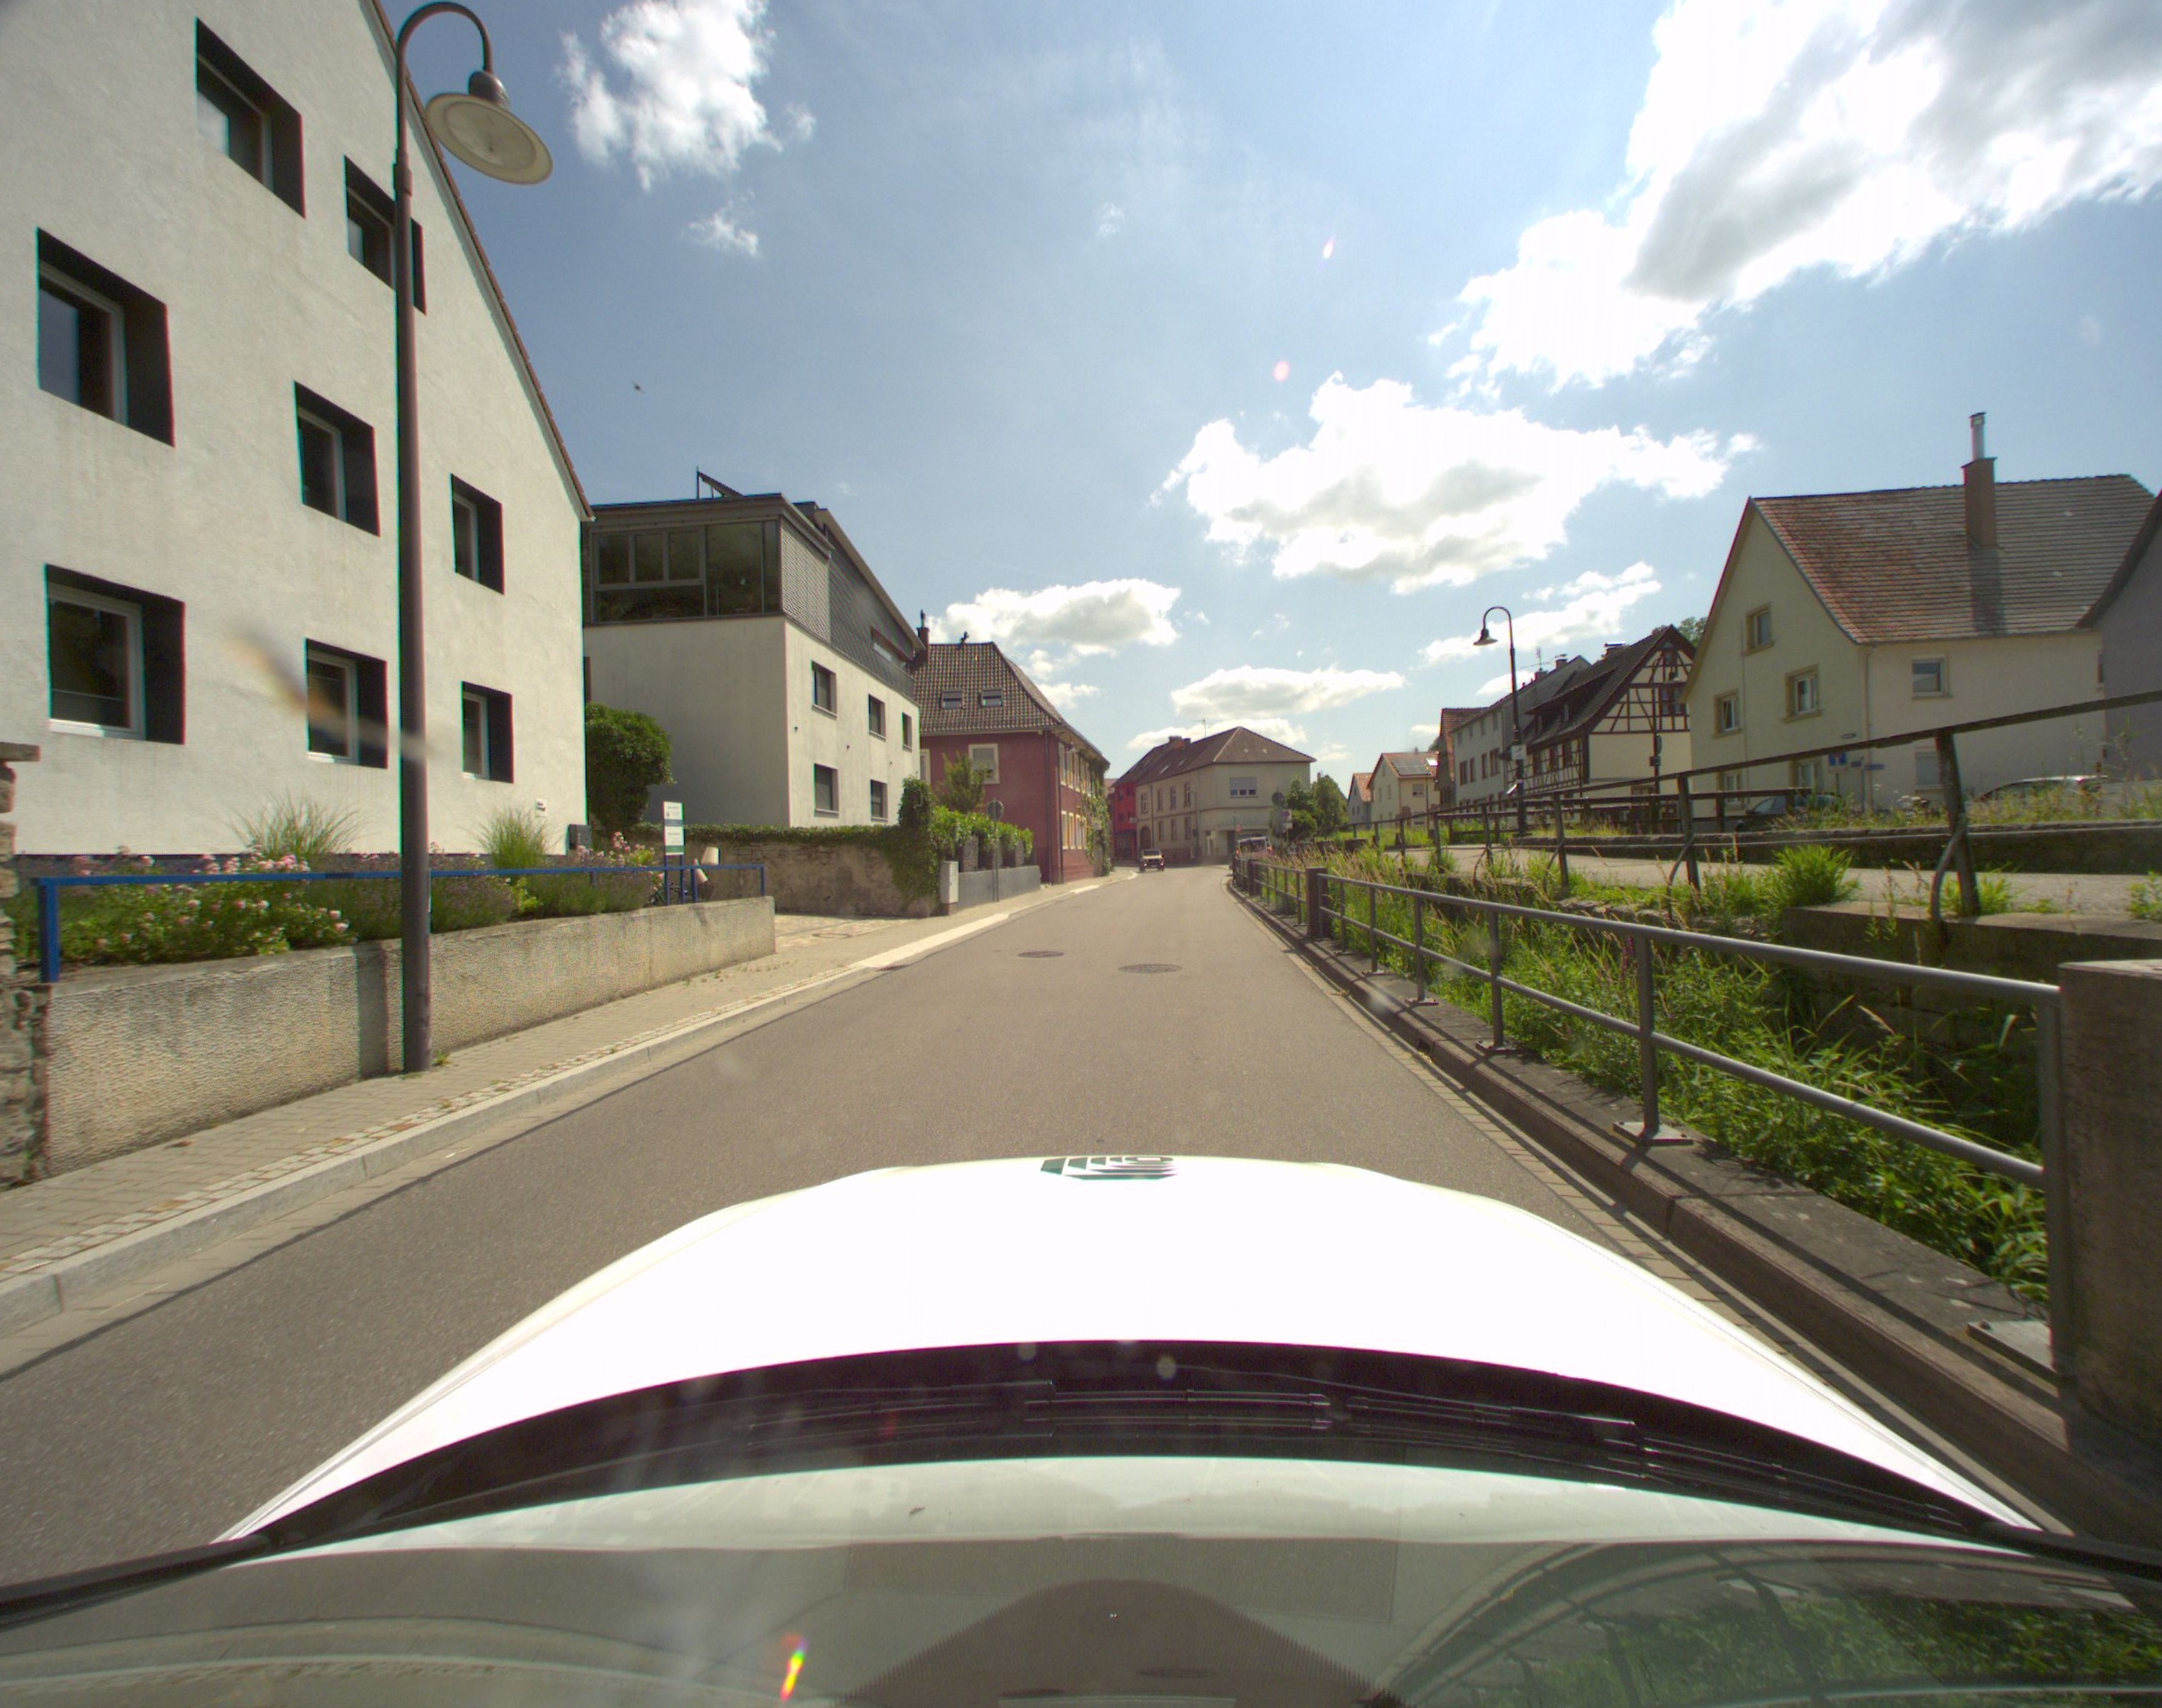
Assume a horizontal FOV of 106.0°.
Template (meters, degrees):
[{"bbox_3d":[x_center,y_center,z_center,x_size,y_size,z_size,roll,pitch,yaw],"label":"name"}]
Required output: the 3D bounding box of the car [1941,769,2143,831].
[{"bbox_3d":[25.682,-1.392,21.941,1.657,1.325,3.248,-4,0,4],"label":"car"}]

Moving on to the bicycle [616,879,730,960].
[{"bbox_3d":[-5.541,0.861,11.162,0.504,0.972,1.543,4,-1,10],"label":"bicycle"}]

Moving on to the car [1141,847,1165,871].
[{"bbox_3d":[5.494,0.363,61.608,1.613,1.719,3.479,-4,0,6],"label":"car"}]

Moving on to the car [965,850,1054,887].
[{"bbox_3d":[-3.143,0.615,35.938,3.544,1.406,1.656,2,1,9],"label":"car"}]

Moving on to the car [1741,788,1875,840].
[{"bbox_3d":[22.333,-1.182,25.179,1.655,1.416,3.086,-2,0,8],"label":"car"}]

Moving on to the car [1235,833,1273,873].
[{"bbox_3d":[9.592,-0.063,45.141,1.885,1.980,3.124,-4,0,12],"label":"car"}]
